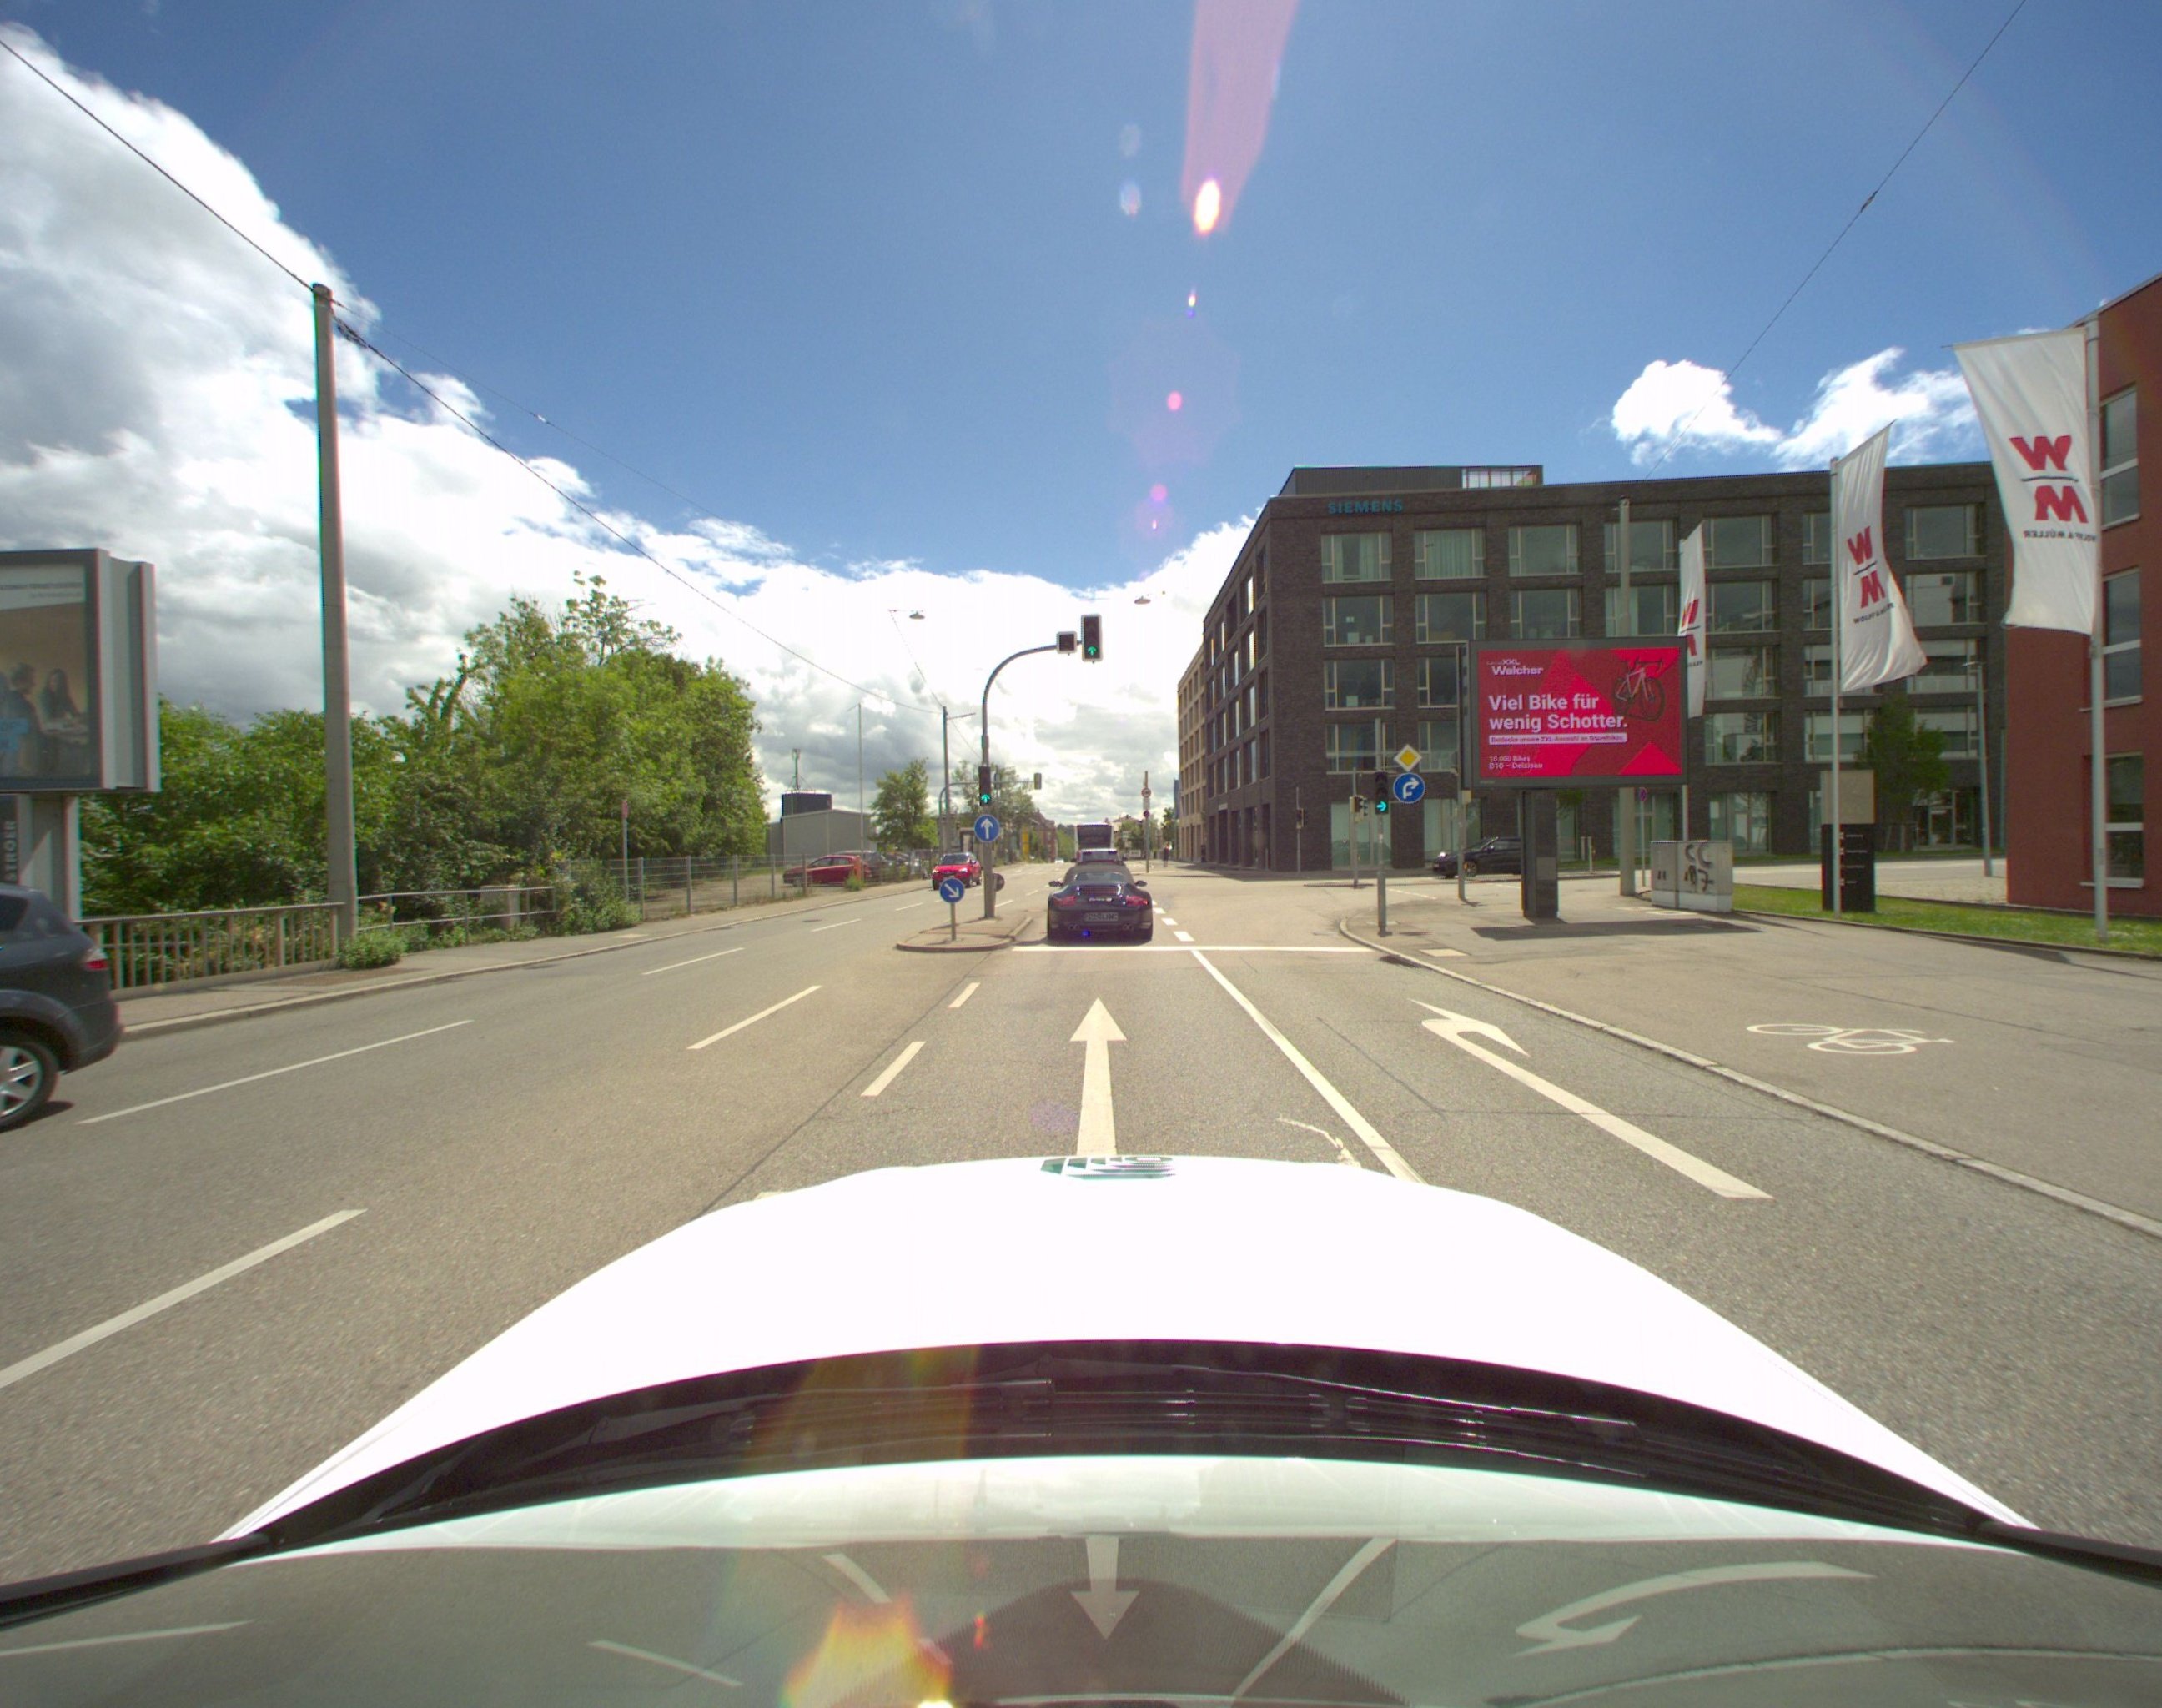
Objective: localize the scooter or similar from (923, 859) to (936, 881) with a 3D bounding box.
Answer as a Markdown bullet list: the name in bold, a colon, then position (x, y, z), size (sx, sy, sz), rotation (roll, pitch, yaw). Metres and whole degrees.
- **scooter or similar**: position (-8.533, 0.907, 45.808), size (0.421, 1.210, 1.128), rotation (0, 0, 5)

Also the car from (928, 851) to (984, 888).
- **car**: position (-5.762, 0.686, 37.951), size (1.834, 1.596, 4.002), rotation (-1, 0, 2)

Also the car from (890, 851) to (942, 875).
- **car**: position (-14.627, 0.771, 72.522), size (4.272, 2.014, 2.136), rotation (-2, -1, -7)

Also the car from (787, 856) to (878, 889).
- **car**: position (-11.784, 0.852, 38.880), size (3.849, 1.419, 1.897), rotation (-2, 0, -8)

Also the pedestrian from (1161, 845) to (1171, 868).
- **pedestrian**: position (6.710, 0.188, 64.085), size (0.681, 1.728, 0.962), rotation (-1, 0, 0)

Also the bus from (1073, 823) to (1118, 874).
- **bus**: position (1.131, -0.388, 57.448), size (2.791, 3.198, 12.202), rotation (-1, 0, 2)

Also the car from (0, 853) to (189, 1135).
- **car**: position (-7.560, 0.881, 3.648), size (1.904, 1.702, 4.627), rotation (-1, 0, 2)

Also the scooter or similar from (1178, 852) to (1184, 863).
- **scooter or similar**: position (11.370, 0.412, 92.802), size (0.425, 1.153, 1.403), rotation (-2, -1, 0)

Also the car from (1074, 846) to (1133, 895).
- **car**: position (0.735, 0.552, 29.518), size (1.925, 1.583, 4.205), rotation (-1, 0, -1)

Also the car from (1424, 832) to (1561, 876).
- **car**: position (16.806, 0.006, 33.452), size (4.624, 1.618, 2.000), rotation (-2, 0, 0)

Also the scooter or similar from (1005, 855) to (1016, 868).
- **scooter or similar**: position (-7.135, 0.730, 82.681), size (0.530, 1.262, 1.478), rotation (0, 0, 18)

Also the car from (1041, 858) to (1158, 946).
- **car**: position (0.371, 0.804, 15.604), size (1.923, 1.376, 4.210), rotation (-1, 0, 2)

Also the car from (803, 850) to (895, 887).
- **car**: position (-11.799, 0.704, 41.659), size (4.094, 1.734, 1.997), rotation (-2, 0, -4)

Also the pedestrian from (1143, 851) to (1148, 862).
- **pedestrian**: position (8.847, 0.319, 111.885), size (0.685, 1.536, 0.856), rotation (-2, -1, 0)
